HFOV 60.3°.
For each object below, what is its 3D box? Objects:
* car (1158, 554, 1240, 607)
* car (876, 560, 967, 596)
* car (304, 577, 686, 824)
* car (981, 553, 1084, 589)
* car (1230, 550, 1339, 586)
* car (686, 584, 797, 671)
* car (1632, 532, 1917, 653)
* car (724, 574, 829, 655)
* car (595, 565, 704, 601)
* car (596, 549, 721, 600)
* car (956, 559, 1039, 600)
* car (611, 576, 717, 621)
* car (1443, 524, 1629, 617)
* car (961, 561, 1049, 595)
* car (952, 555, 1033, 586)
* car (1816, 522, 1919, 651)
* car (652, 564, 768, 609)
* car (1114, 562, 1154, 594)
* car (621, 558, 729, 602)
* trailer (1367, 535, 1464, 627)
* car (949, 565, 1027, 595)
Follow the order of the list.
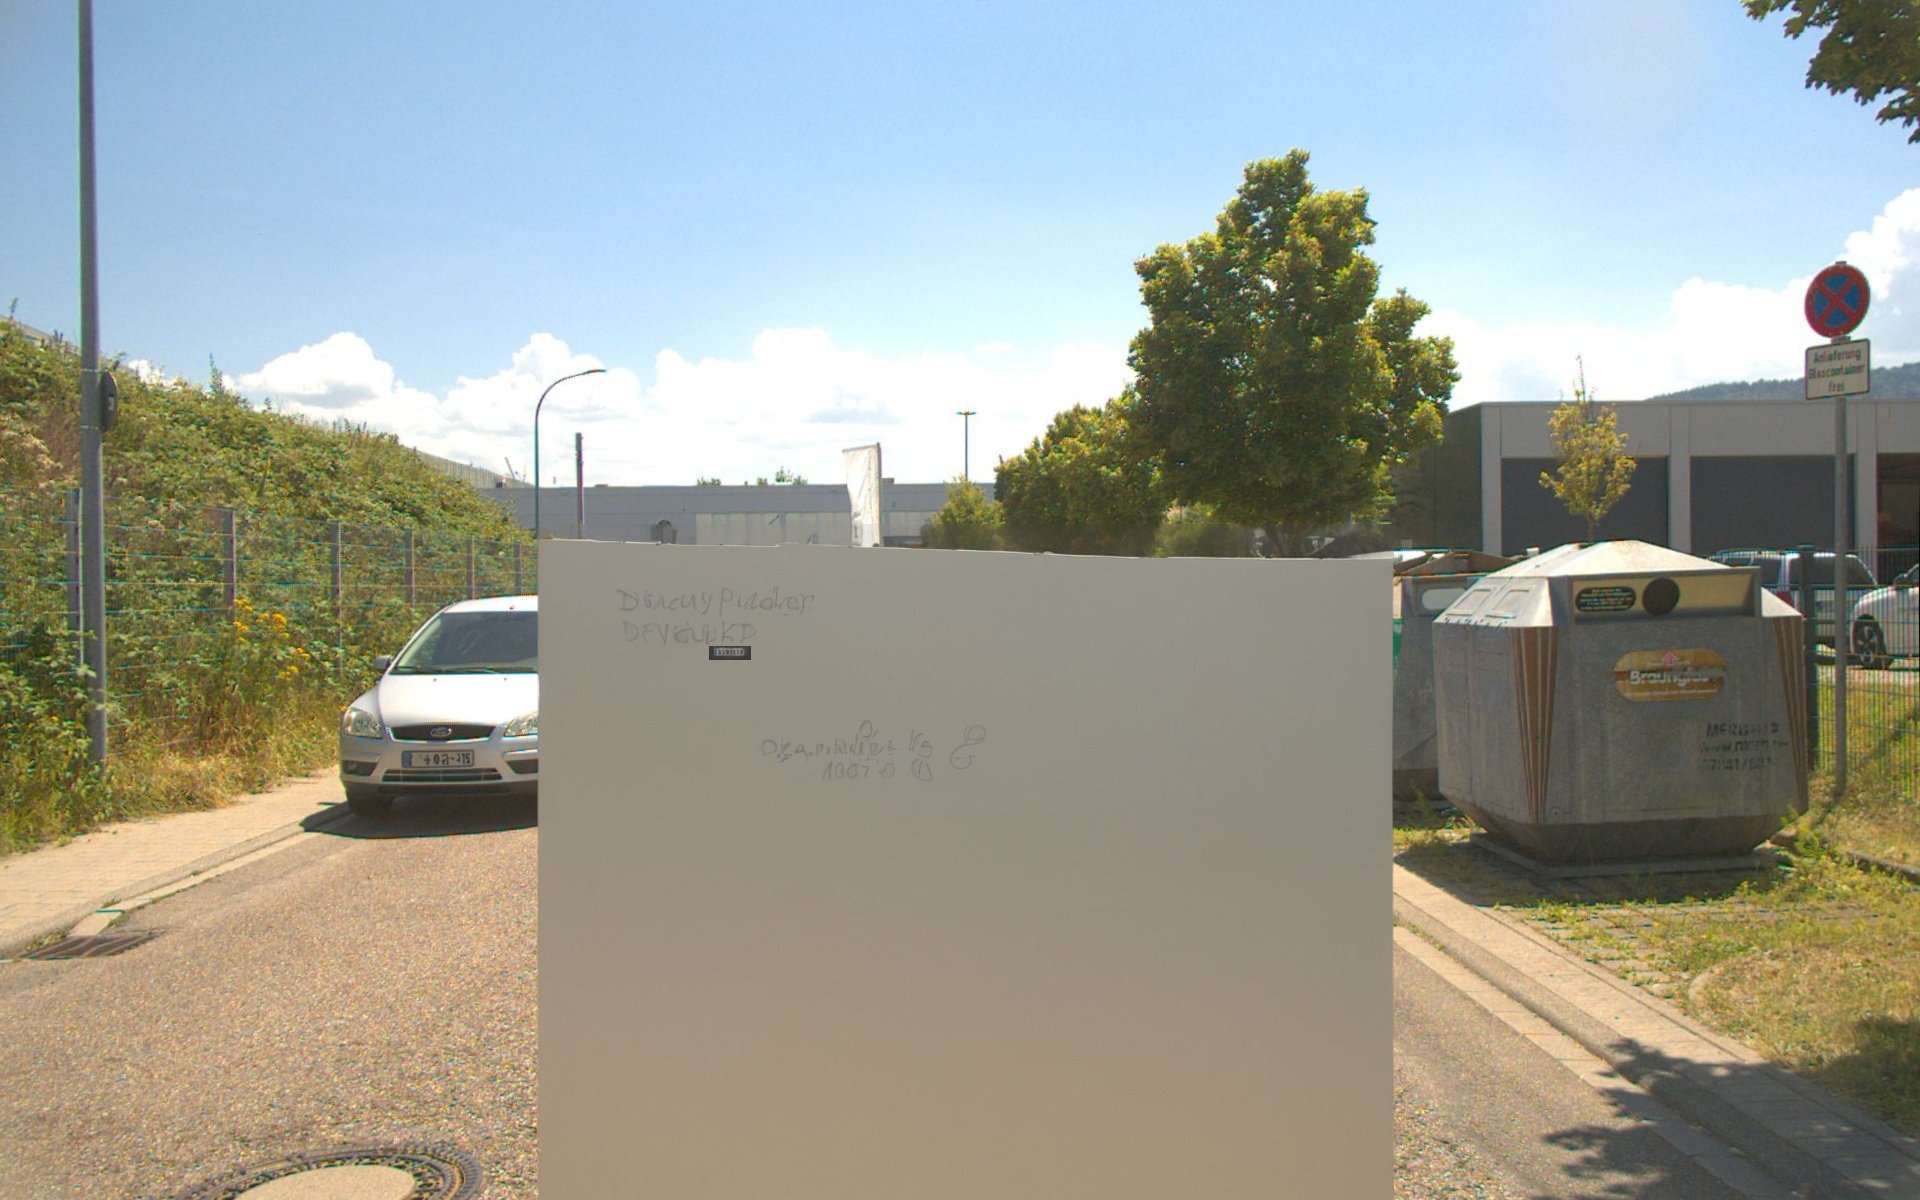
[{"bbox_3d":[7.404,-0.608,51.538,1.701,1.549,3.893,-1,1,-4],"label":"car"},{"bbox_3d":[-1.697,-0.953,72.387,3.907,1.423,1.999,-1,-1,-3],"label":"car"},{"bbox_3d":[-3.421,0.644,13.072,1.796,1.573,4.366,-1,0,-1],"label":"car"},{"bbox_3d":[3.161,-1.273,72.498,4.349,1.423,1.999,-1,-1,-3],"label":"car"},{"bbox_3d":[14.241,-1.414,72.801,4.349,1.423,1.999,-1,-1,-3],"label":"car"},{"bbox_3d":[-3.919,0.451,30.190,1.623,1.442,4.143,-1,0,-3],"label":"car"},{"bbox_3d":[11.564,-0.186,23.867,1.754,1.557,4.420,-1,2,-3],"label":"car"},{"bbox_3d":[-3.845,0.273,35.252,1.796,1.573,4.264,-1,0,-1],"label":"car"},{"bbox_3d":[-13.366,-0.717,71.388,4.349,1.423,1.999,-1,-1,-3],"label":"car"},{"bbox_3d":[-13.441,-1.134,73.906,5.210,2.134,1.999,-1,1,-2],"label":"car"},{"bbox_3d":[1.793,-0.996,80.568,3.907,1.859,1.999,-1,-1,-3],"label":"car"},{"bbox_3d":[-13.570,-0.073,76.088,4.494,1.956,1.999,-1,1,-2],"label":"car"},{"bbox_3d":[11.321,-0.527,32.835,1.843,1.549,4.464,-1,-2,-4],"label":"car"},{"bbox_3d":[2.077,-1.016,77.175,3.907,1.423,1.999,-1,-1,-3],"label":"car"},{"bbox_3d":[1.594,-1.458,82.699,3.907,1.423,1.999,-1,-1,-3],"label":"car"},{"bbox_3d":[11.709,-0.173,18.667,1.754,1.458,4.140,-1,-1,-3],"label":"car"},{"bbox_3d":[-9.987,-0.537,66.298,4.349,1.655,1.999,-1,-1,-3],"label":"car"},{"bbox_3d":[10.988,-1.357,104.585,1.953,1.859,3.998,-1,-1,-1],"label":"car"},{"bbox_3d":[-13.524,-0.957,78.784,4.785,1.956,1.999,-1,1,-2],"label":"car"},{"bbox_3d":[10.968,-0.504,39.996,1.462,2.041,3.265,-2,3,1],"label":"trailer"},{"bbox_3d":[1.438,-1.014,86.144,3.907,1.423,1.999,-1,-1,-3],"label":"car"}]
